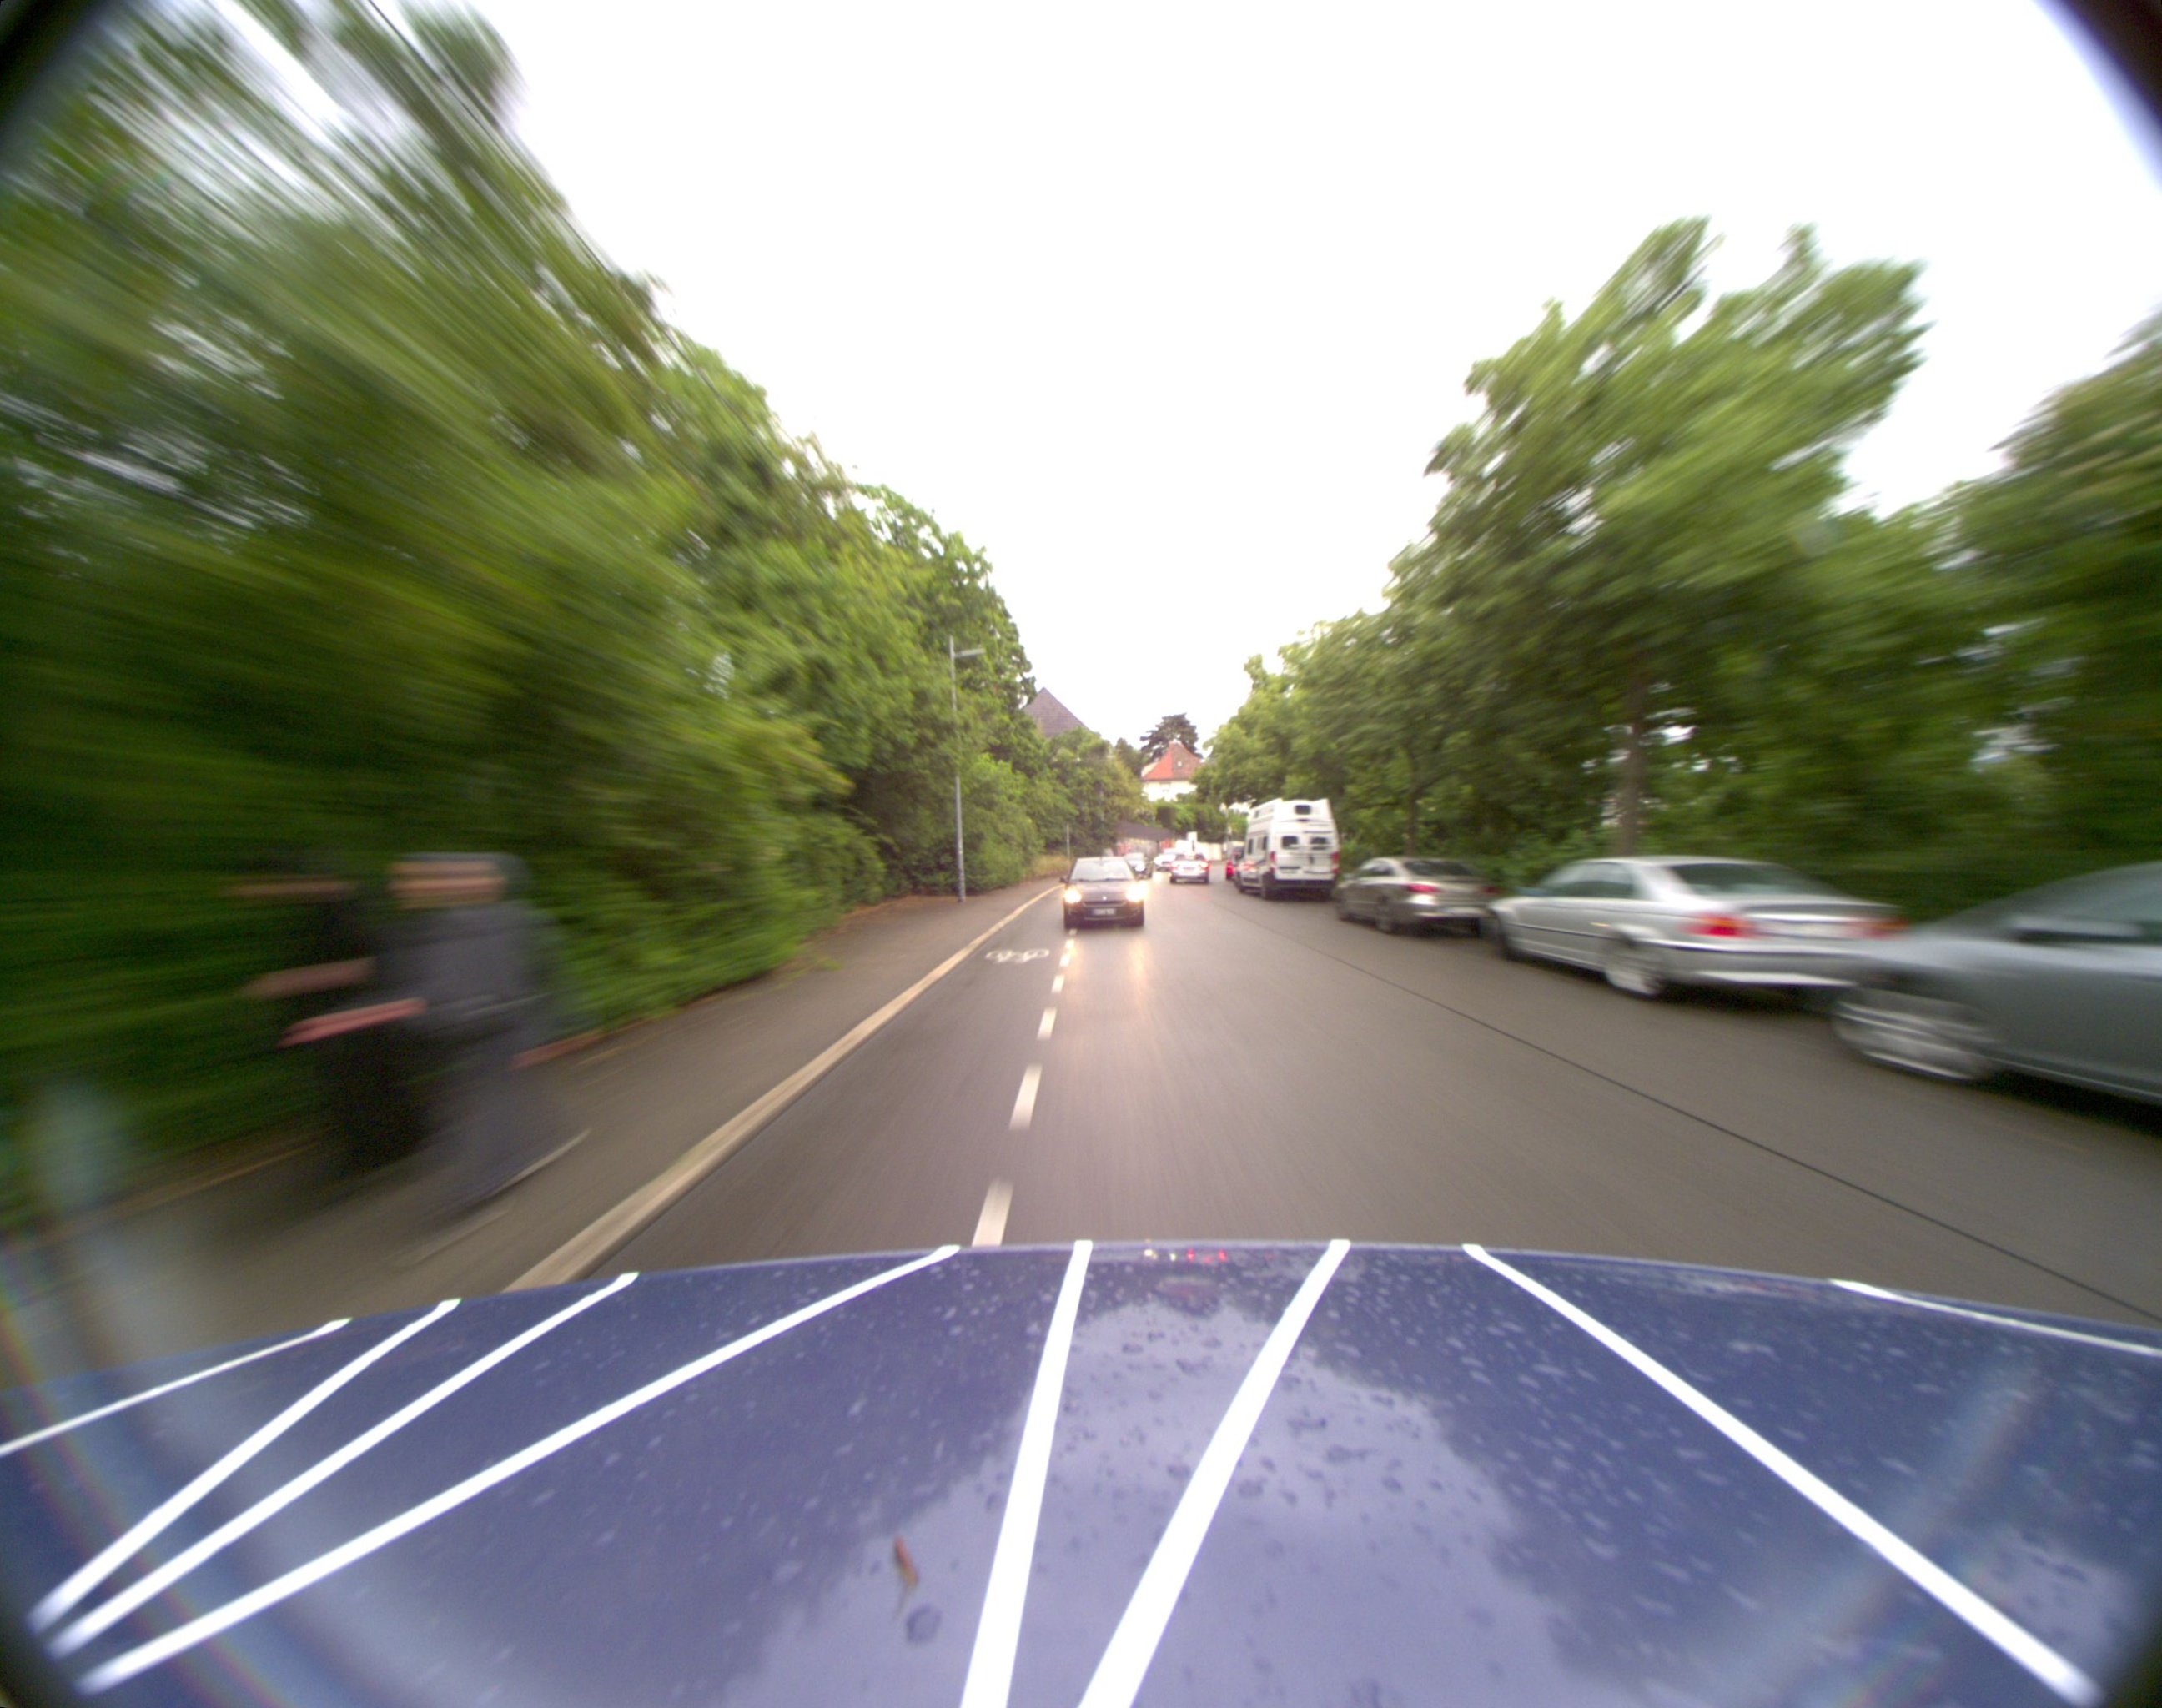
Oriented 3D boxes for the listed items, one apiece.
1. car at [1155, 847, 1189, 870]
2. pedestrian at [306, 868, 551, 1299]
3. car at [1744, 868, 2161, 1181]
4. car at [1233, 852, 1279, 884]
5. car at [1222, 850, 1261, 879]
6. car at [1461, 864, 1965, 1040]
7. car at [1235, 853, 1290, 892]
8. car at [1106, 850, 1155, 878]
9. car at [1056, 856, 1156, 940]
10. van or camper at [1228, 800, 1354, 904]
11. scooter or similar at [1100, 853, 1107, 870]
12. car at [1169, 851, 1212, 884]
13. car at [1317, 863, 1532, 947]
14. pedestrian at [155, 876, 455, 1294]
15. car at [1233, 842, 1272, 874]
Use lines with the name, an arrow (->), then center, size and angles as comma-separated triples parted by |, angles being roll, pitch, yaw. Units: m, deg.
car -> 6.893, 0.285, 57.225 | 2.028, 1.619, 4.232 | 0, 1, 14
pedestrian -> -2.591, 0.843, 3.055 | 0.553, 1.557, 0.487 | 0, 2, 12
car -> 6.127, 0.850, 3.616 | 1.998, 1.397, 4.714 | 0, 1, 3
car -> 8.361, 0.649, 36.613 | 1.957, 1.400, 3.547 | 2, 1, 10
car -> 8.919, 0.558, 42.252 | 1.957, 1.453, 4.579 | 2, 1, 12
car -> 6.426, 0.844, 8.684 | 1.998, 1.397, 4.715 | 0, 0, 3
car -> 7.422, 0.720, 31.380 | 1.957, 1.400, 4.211 | 2, 1, 10
car -> 2.796, 0.527, 41.814 | 2.028, 1.454, 4.004 | 0, 1, 14
car -> 0.496, 0.829, 16.237 | 1.804, 1.418, 4.382 | -2, 1, 1
van or camper -> 6.789, -0.114, 25.547 | 2.511, 3.009, 6.561 | 1, 1, 2
scooter or similar -> 1.604, 0.521, 54.078 | 0.346, 1.111, 1.423 | 2, 2, 9
car -> 5.142, 0.600, 36.056 | 1.887, 1.394, 4.257 | 0, 1, 6
car -> 6.374, 0.851, 14.956 | 1.998, 1.301, 5.356 | 1, 0, 3
pedestrian -> -3.261, 0.882, 3.240 | 0.596, 1.557, 0.670 | -2, -1, 13
car -> 11.596, 0.250, 51.171 | 1.956, 1.956, 5.009 | 3, 1, 18
